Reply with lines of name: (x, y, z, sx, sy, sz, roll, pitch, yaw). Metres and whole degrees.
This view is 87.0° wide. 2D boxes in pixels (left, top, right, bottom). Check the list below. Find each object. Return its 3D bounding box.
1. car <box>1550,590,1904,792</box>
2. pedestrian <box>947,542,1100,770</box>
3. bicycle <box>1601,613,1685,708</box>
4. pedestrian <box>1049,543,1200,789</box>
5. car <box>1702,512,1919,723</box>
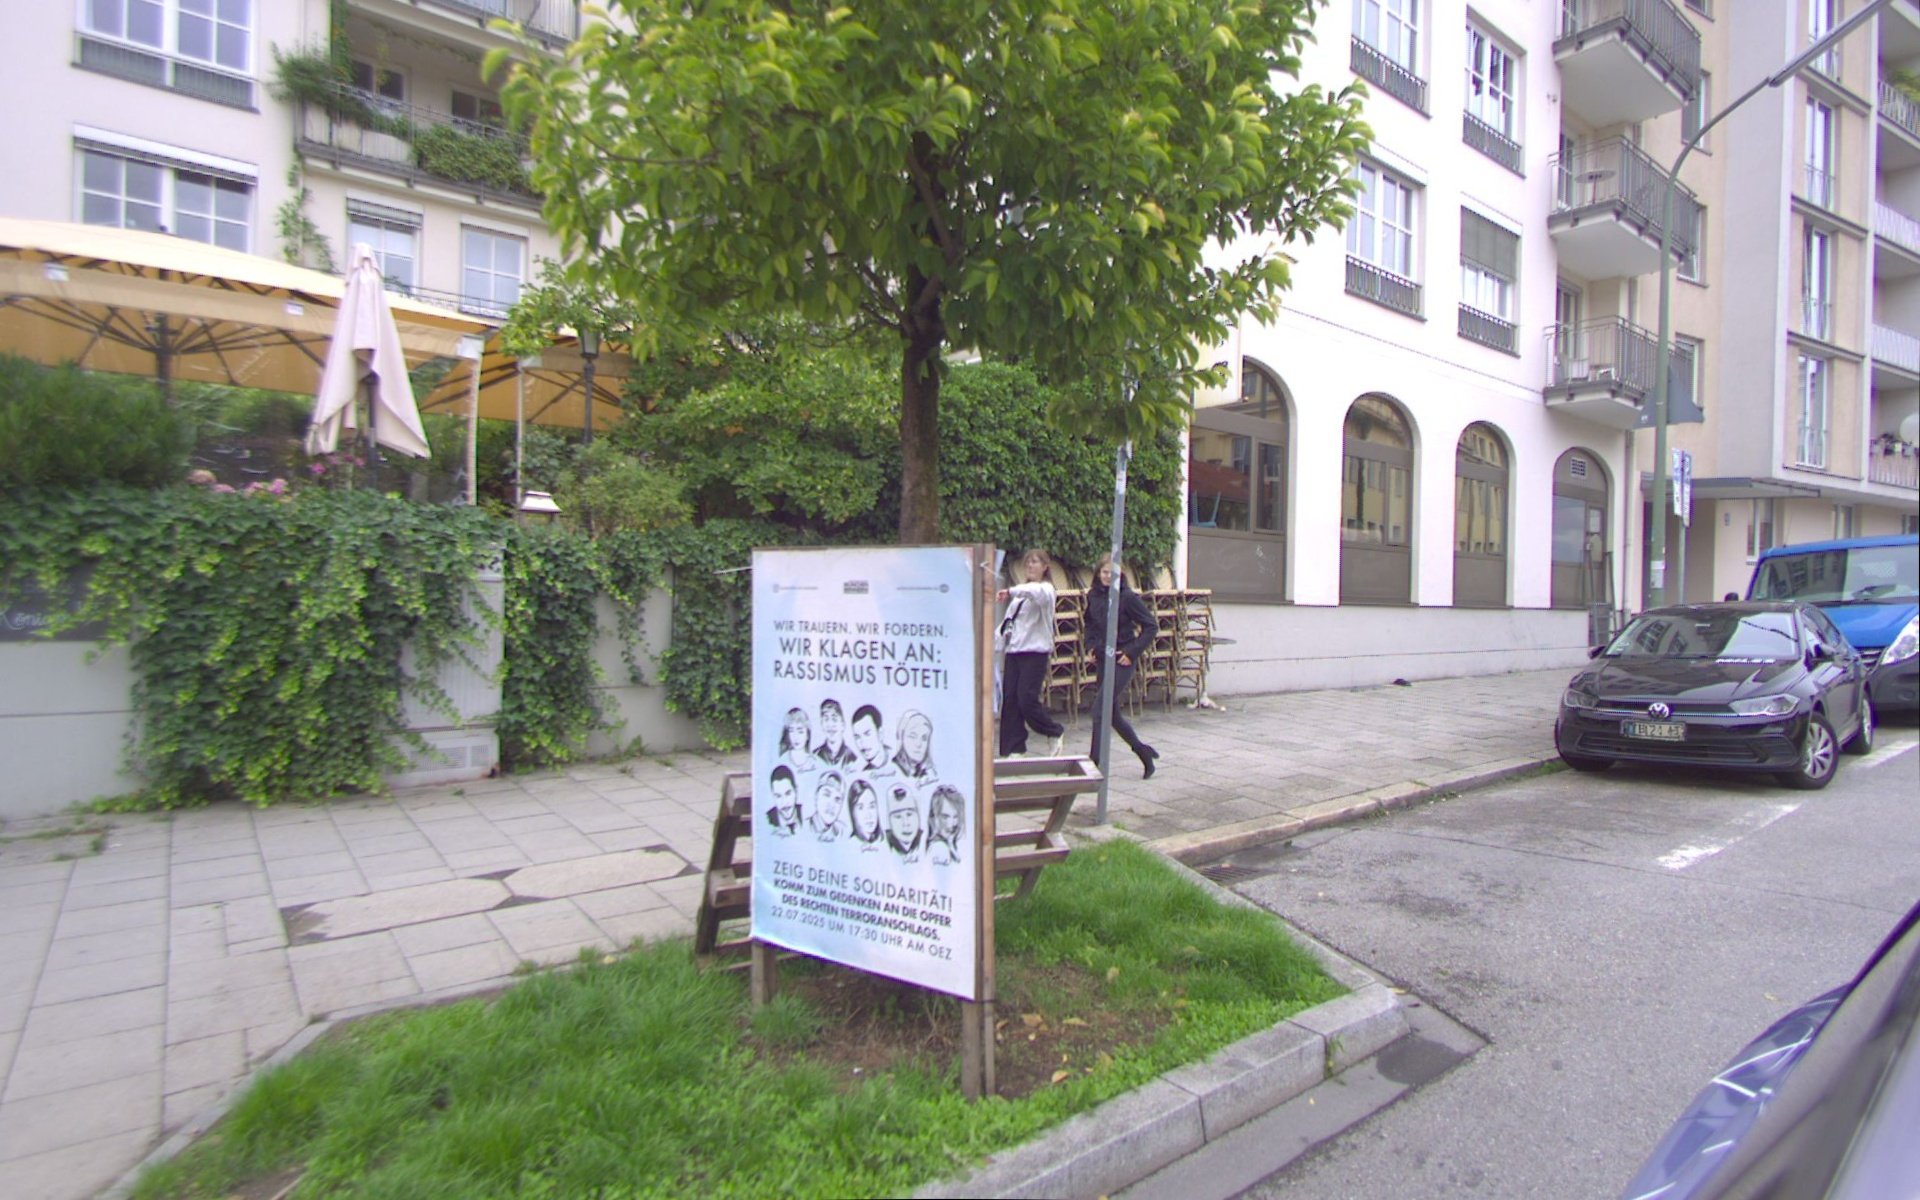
car: (6.949, 0.663, 9.026, 3.930, 1.413, 1.717, 0, -2, -41)
pedestrian: (0.481, 0.379, 7.775, 0.814, 1.626, 0.809, 0, 2, -38)
bicycle: (8.540, 0.719, 12.633, 0.565, 1.083, 1.759, 2, 1, 43)
pedestrian: (1.181, 0.422, 7.285, 0.815, 1.648, 0.680, 0, 2, -39)
car: (11.720, 0.170, 12.901, 4.934, 2.242, 2.114, -2, -2, -36)
